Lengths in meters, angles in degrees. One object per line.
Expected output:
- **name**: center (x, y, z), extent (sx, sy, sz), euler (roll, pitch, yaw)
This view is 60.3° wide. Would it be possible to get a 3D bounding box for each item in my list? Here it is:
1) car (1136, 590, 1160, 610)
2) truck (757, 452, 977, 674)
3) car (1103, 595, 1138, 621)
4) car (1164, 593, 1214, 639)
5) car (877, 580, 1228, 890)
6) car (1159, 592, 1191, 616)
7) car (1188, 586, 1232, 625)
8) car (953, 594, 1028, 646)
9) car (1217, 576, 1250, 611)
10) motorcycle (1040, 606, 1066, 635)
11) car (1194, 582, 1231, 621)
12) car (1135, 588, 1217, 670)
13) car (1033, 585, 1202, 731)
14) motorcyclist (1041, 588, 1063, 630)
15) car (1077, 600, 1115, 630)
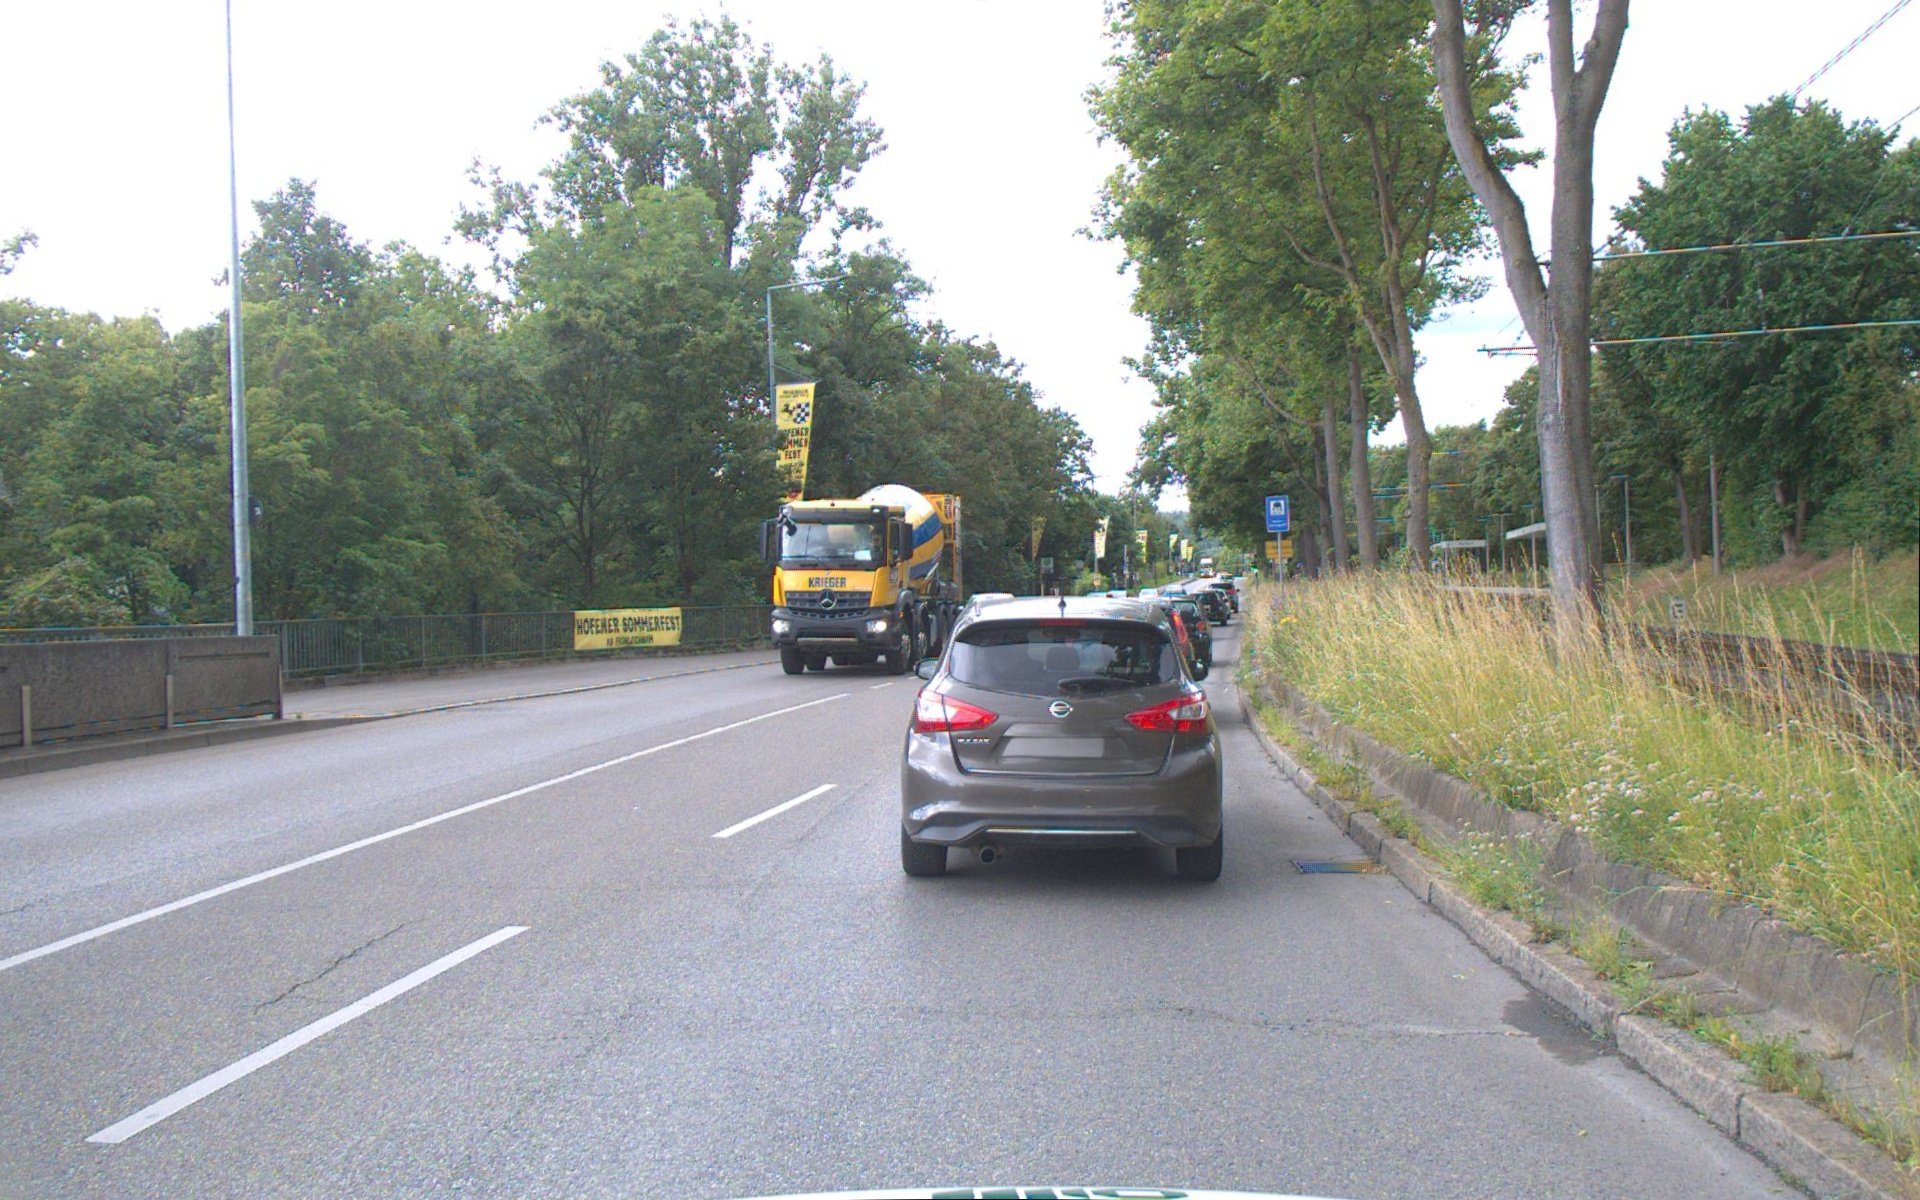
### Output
- **car**: center (14.718, 0.011, 129.274), extent (1.715, 1.445, 4.003), euler (-2, -2, 9)
- **truck**: center (-1.647, -0.671, 35.022), extent (2.598, 4.007, 10.119), euler (0, 0, 9)
- **car**: center (9.994, 0.480, 102.801), extent (1.779, 1.488, 4.004), euler (-2, 0, 10)
- **car**: center (7.371, 0.505, 53.003), extent (1.468, 1.388, 3.590), euler (-2, -1, 9)
- **car**: center (0.606, 0.702, 10.218), extent (1.737, 1.520, 4.002), euler (0, -1, 4)
- **car**: center (14.093, 0.269, 108.338), extent (1.812, 1.512, 4.424), euler (-1, -1, 11)
- **car**: center (10.444, 0.243, 68.989), extent (1.766, 1.567, 4.003), euler (0, -1, 9)
- **car**: center (0.964, 0.590, 50.366), extent (1.729, 1.505, 4.003), euler (-1, 0, 9)
- **car**: center (16.547, -0.375, 99.970), extent (1.850, 2.049, 4.003), euler (-1, 0, 10)
- **motorcycle**: center (3.570, 0.789, 63.476), extent (0.729, 1.051, 1.890), euler (-1, 0, 11)
- **car**: center (12.554, 0.102, 82.155), extent (1.681, 1.723, 4.003), euler (-2, -2, 9)
- **car**: center (4.490, 0.591, 34.777), extent (1.544, 1.565, 4.002), euler (-2, -1, 6)
- **car**: center (1.850, 0.679, 20.363), extent (1.853, 1.601, 4.001), euler (-1, -1, 3)
- **motorcyclist**: center (3.544, 0.339, 63.476), extent (0.729, 1.566, 0.791), euler (-1, 0, 11)
- **car**: center (7.357, 0.827, 89.310), extent (1.684, 1.467, 4.003), euler (-2, -2, 9)
